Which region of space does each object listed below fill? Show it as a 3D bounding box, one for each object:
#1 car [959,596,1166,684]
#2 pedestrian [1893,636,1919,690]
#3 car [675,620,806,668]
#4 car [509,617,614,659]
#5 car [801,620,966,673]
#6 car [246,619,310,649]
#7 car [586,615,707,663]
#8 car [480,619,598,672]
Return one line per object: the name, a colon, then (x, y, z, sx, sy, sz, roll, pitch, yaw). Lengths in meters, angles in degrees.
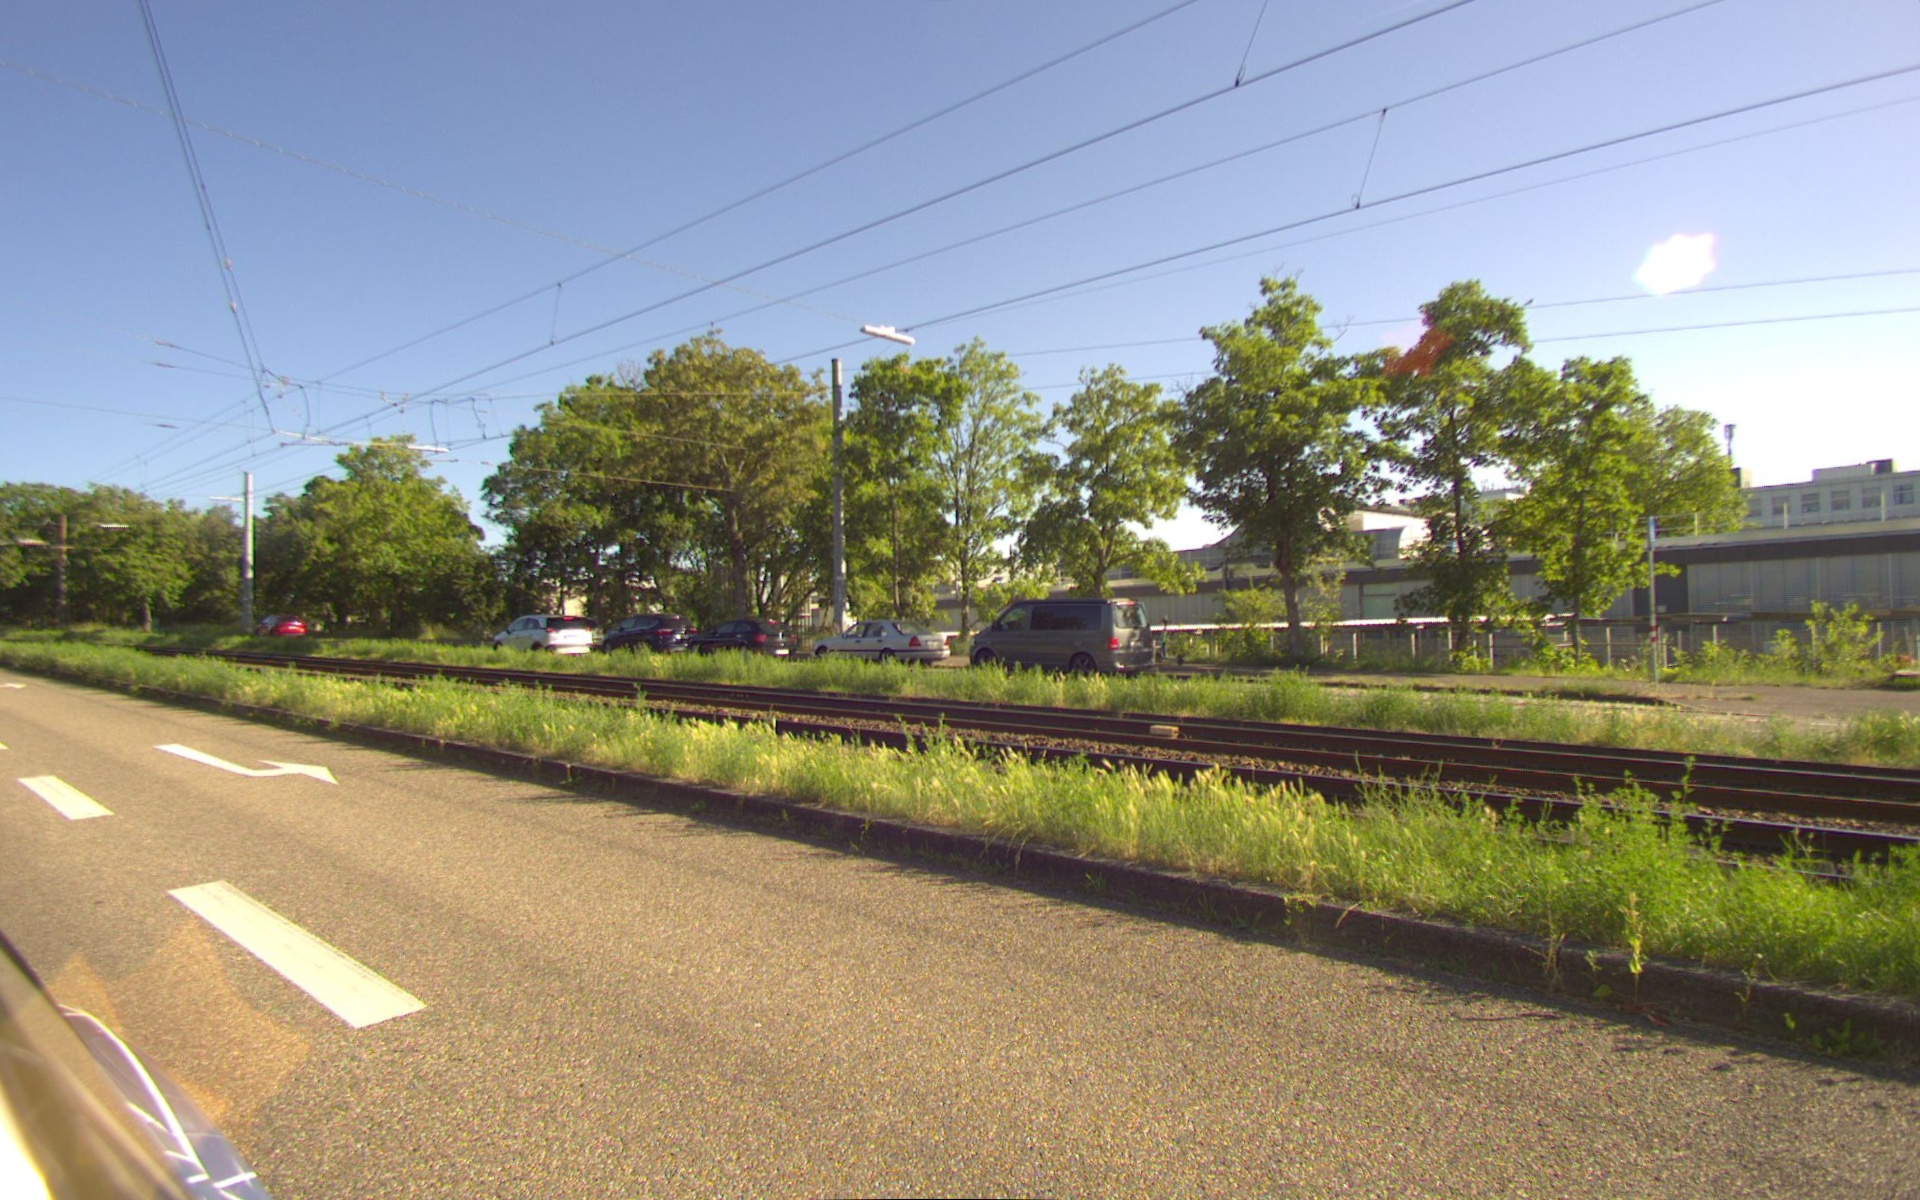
car: (2.430, 0.955, 24.813, 4.684, 1.949, 2.178, -2, -1, 42)
pedestrian: (23.532, 1.549, 25.021, 0.435, 1.310, 0.441, -1, -2, -1)
car: (-7.243, 1.433, 33.231, 4.486, 1.437, 1.935, -2, -1, 42)
car: (-16.269, 1.531, 41.258, 4.557, 1.575, 2.103, -2, -1, 41)
car: (-2.265, 1.321, 29.225, 4.612, 1.391, 2.103, -2, -1, 40)
car: (-42.467, 2.091, 62.981, 4.797, 1.746, 2.290, -2, -1, 43)
car: (-11.439, 1.400, 36.783, 4.614, 1.599, 2.102, -2, -1, 41)
car: (-13.481, 1.414, 32.301, 4.155, 1.569, 1.835, -2, -1, 42)
